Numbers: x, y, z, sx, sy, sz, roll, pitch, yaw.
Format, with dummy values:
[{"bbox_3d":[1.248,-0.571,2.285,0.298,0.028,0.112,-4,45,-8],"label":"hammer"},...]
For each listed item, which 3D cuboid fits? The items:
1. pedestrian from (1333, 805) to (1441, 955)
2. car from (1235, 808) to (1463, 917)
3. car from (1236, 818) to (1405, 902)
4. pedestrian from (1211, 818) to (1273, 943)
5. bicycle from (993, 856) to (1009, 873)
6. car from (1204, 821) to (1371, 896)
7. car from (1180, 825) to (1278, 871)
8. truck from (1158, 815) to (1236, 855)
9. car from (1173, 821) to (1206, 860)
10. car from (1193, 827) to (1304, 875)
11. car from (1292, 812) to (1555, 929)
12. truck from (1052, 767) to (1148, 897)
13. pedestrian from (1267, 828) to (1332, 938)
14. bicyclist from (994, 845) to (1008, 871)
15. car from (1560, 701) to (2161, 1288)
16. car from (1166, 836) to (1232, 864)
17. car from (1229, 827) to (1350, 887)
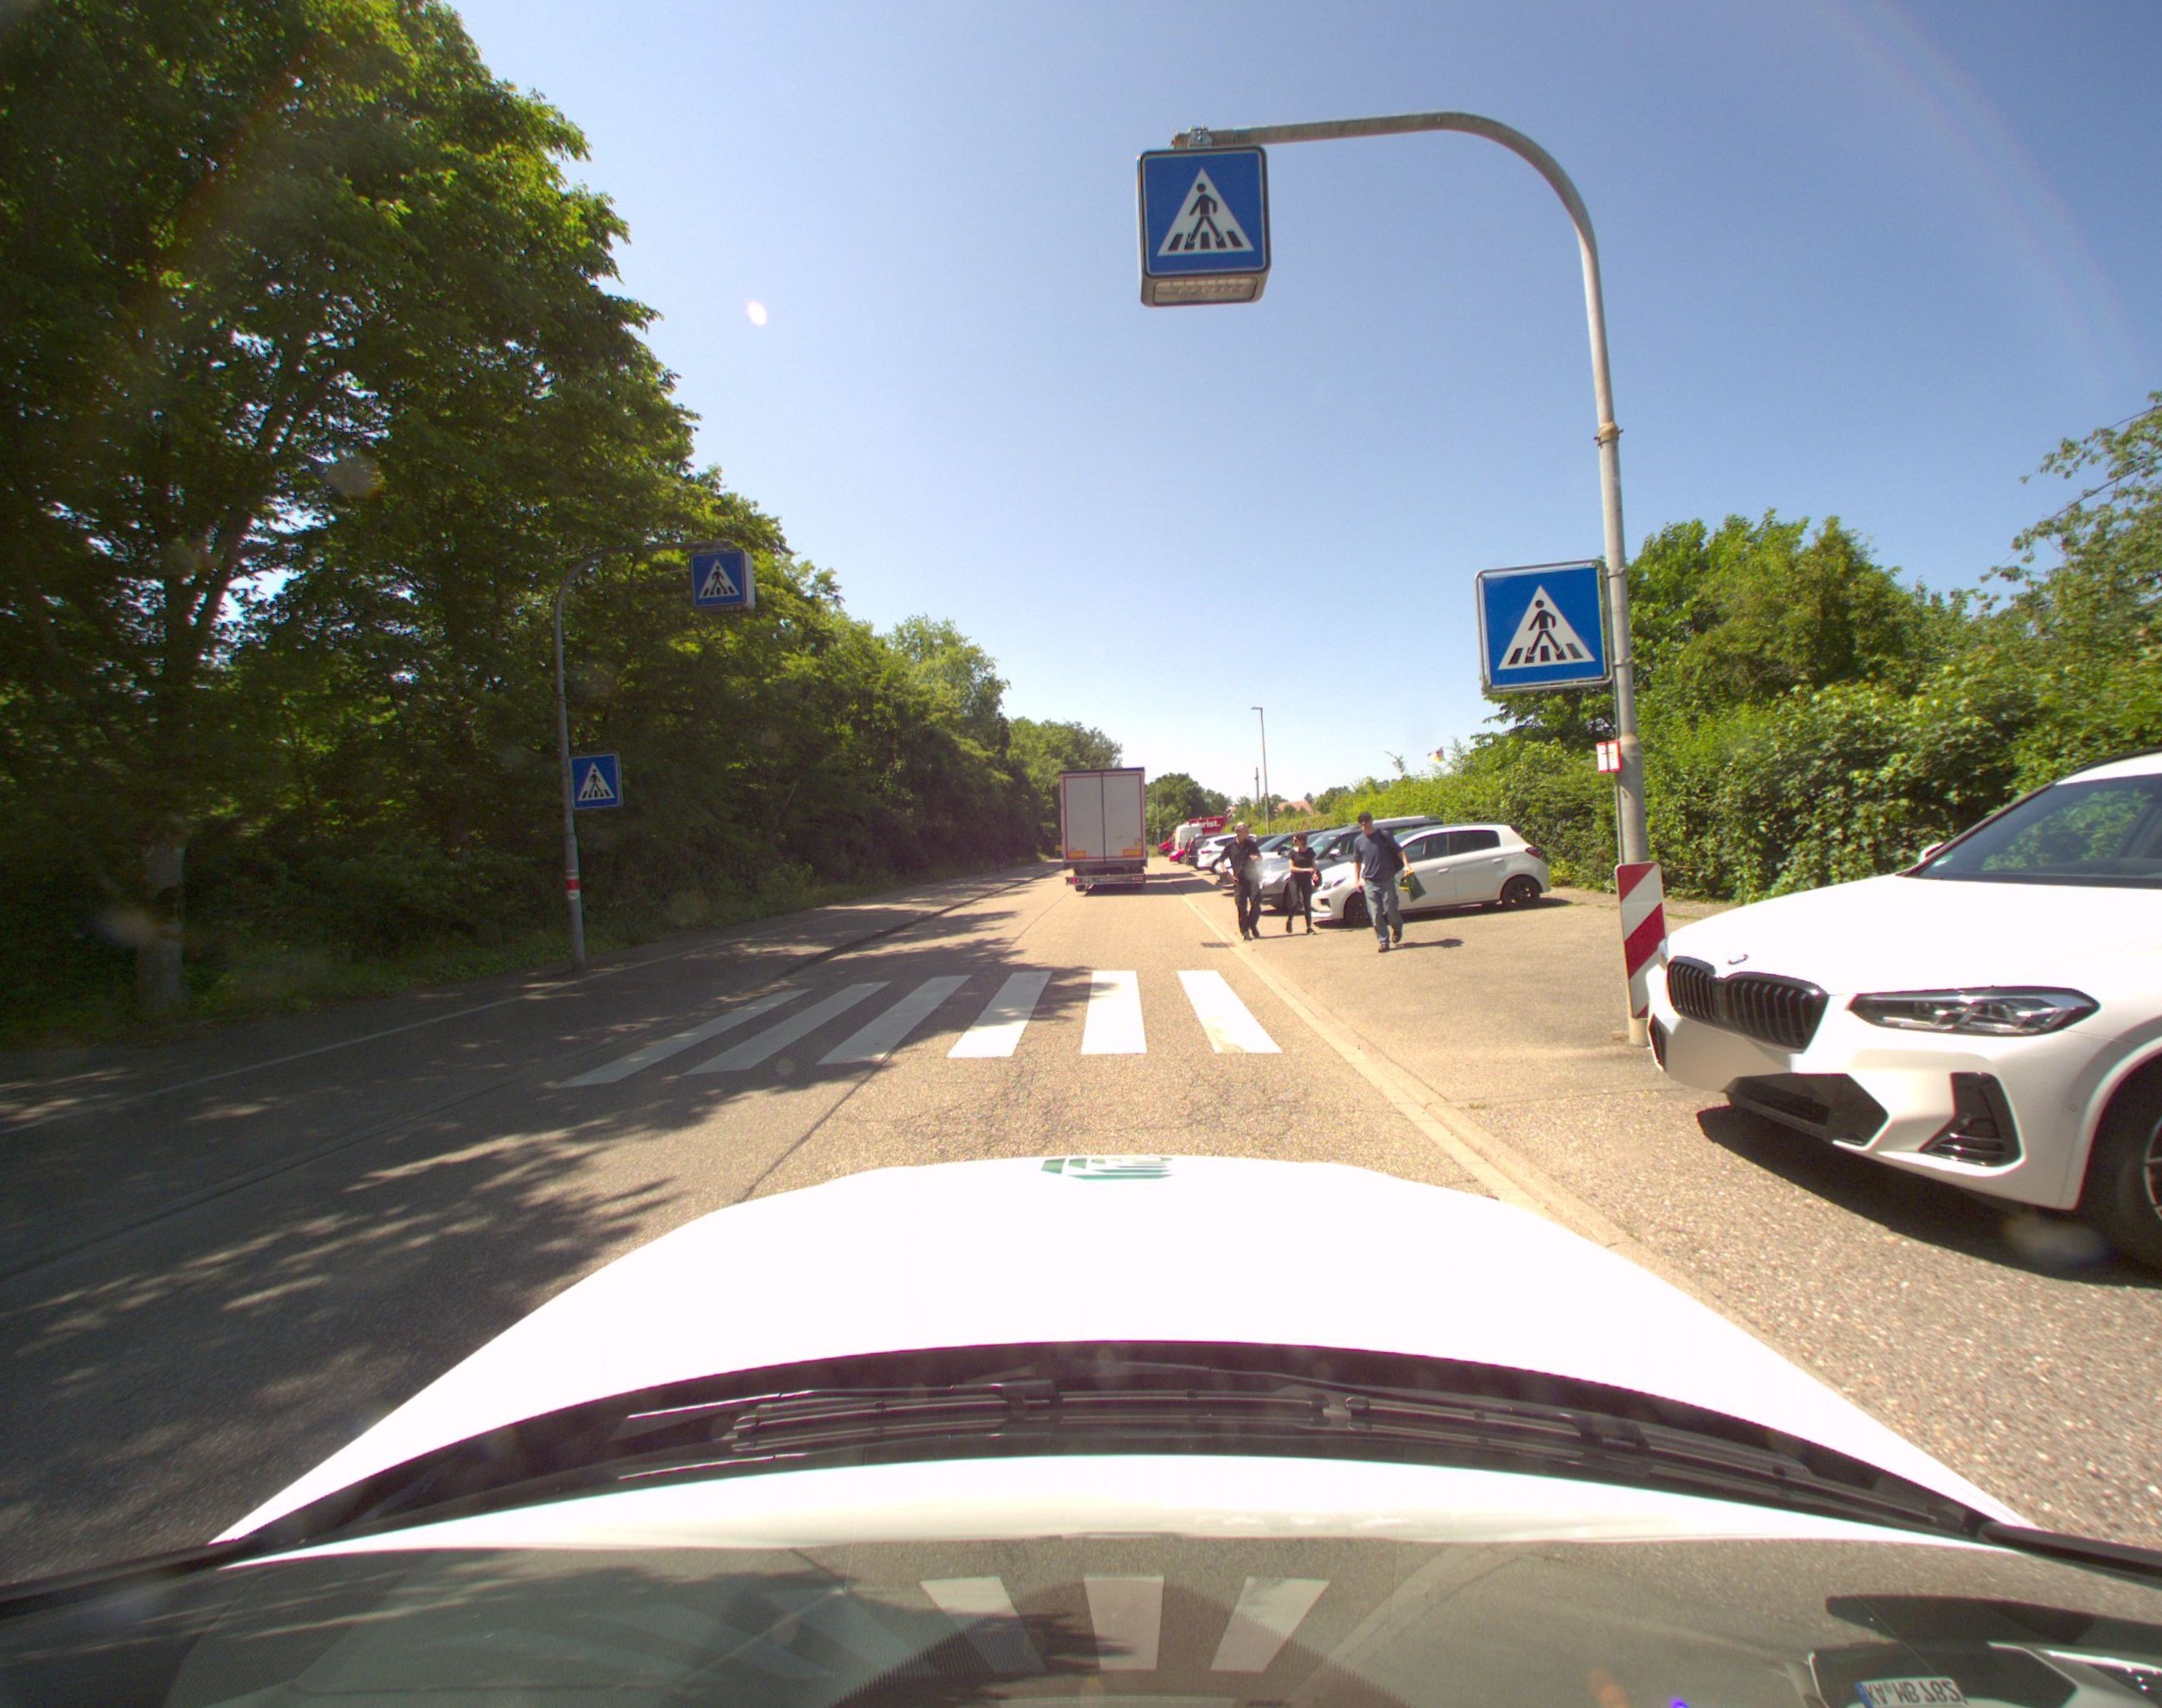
[{"bbox_3d":[3.905,0.310,10.516,1.012,1.751,1.163,-6,0,14],"label":"pedestrian"},{"bbox_3d":[5.362,0.159,16.584,3.952,1.640,1.662,-7,1,-3],"label":"car"},{"bbox_3d":[5.673,0.130,19.503,3.444,1.527,1.538,-7,1,-3],"label":"car"},{"bbox_3d":[2.564,0.397,13.075,0.777,1.864,1.089,-5,1,9],"label":"pedestrian"},{"bbox_3d":[-5.138,0.683,52.221,0.558,1.027,1.842,-3,1,7],"label":"bicycle"},{"bbox_3d":[5.601,0.111,22.377,3.954,1.522,1.862,-7,1,-3],"label":"car"},{"bbox_3d":[7.385,-0.306,40.997,4.441,1.804,1.951,-6,0,-2],"label":"car"},{"bbox_3d":[11.163,-1.827,78.347,7.087,3.439,2.339,-3,1,13],"label":"truck"},{"bbox_3d":[8.502,-1.060,64.435,1.945,2.733,7.175,-6,1,4],"label":"car"},{"bbox_3d":[7.092,-0.155,34.788,4.262,1.578,1.766,-6,1,0],"label":"car"},{"bbox_3d":[5.607,0.252,13.706,3.671,1.450,1.613,-7,1,6],"label":"car"},{"bbox_3d":[0.992,-0.733,30.769,2.721,3.745,13.259,-2,1,4],"label":"truck"},{"bbox_3d":[3.406,0.433,12.781,0.773,1.611,0.899,-5,1,9],"label":"pedestrian"},{"bbox_3d":[-5.148,0.247,52.298,0.645,1.565,0.838,-3,0,7],"label":"bicyclist"},{"bbox_3d":[4.797,0.271,3.347,4.436,1.729,1.852,-5,0,2],"label":"car"},{"bbox_3d":[7.768,-0.265,53.924,4.041,1.434,1.835,-6,1,0],"label":"car"},{"bbox_3d":[6.421,0.065,25.347,3.371,1.503,1.591,-5,1,5],"label":"car"}]
